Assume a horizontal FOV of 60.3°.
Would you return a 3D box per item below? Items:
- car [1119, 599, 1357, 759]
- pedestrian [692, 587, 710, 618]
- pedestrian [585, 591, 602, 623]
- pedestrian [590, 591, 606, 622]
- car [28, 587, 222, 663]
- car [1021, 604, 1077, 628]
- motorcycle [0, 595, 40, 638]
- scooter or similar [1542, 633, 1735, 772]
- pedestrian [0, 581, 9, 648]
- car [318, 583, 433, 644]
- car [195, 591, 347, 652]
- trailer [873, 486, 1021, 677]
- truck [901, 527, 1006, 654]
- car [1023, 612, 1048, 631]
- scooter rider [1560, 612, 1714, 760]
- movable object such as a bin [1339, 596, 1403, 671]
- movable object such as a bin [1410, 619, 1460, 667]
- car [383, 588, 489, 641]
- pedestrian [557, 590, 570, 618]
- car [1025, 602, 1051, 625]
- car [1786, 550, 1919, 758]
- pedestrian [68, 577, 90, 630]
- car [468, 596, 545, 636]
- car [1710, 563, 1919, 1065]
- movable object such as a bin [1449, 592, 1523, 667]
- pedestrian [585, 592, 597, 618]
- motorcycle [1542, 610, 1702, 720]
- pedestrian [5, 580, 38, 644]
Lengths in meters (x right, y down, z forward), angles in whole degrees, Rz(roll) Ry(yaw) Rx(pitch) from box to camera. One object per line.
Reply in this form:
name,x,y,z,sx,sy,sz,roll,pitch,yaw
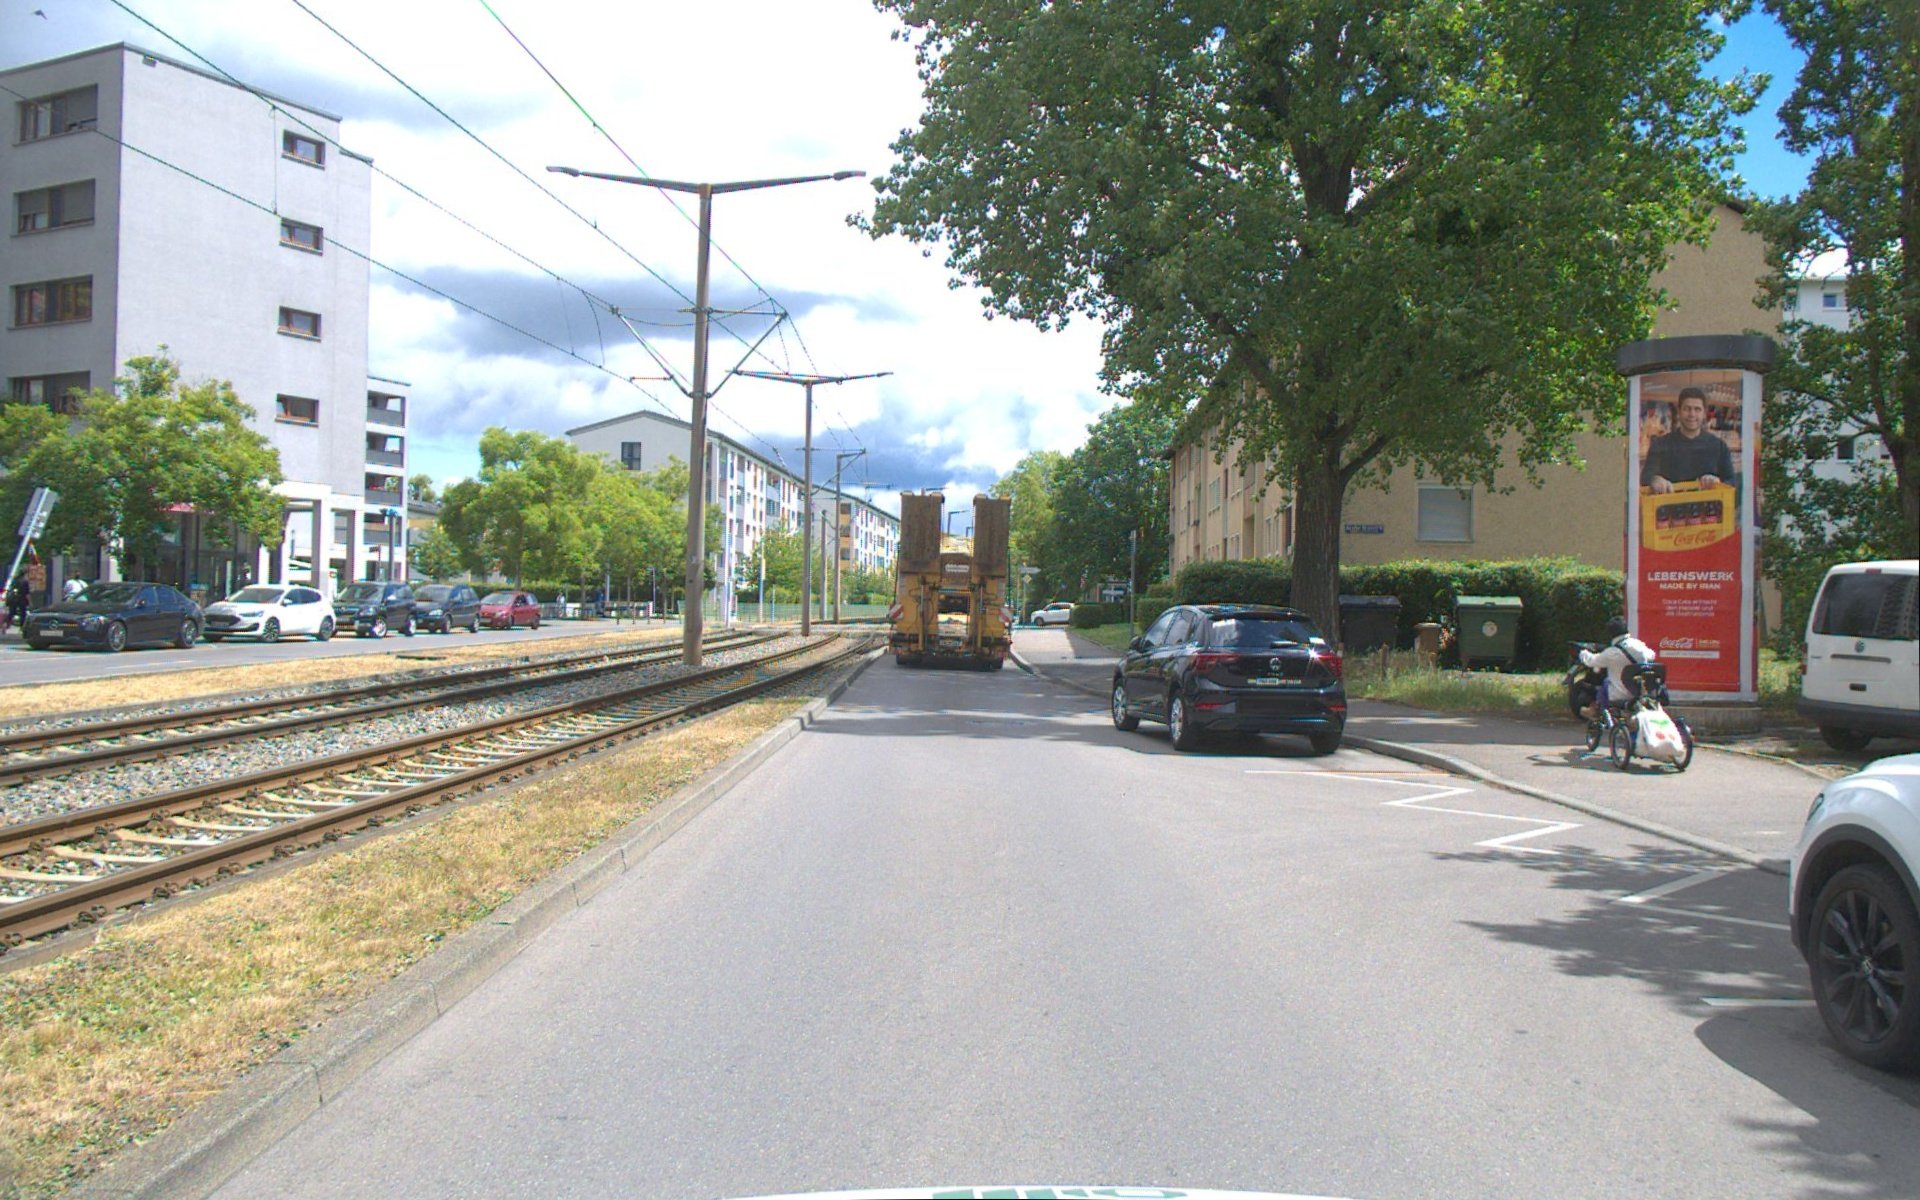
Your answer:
car,2.827,0.747,17.637,1.778,1.474,3.825,0,1,-2
pedestrian,-13.991,0.130,89.460,0.733,1.690,0.870,0,0,6
pedestrian,-18.985,0.358,85.720,0.609,1.600,0.698,0,0,13
pedestrian,-18.933,0.348,86.442,0.609,1.600,0.558,0,0,13
car,-18.202,0.512,36.307,1.698,1.453,4.383,3,0,4
car,6.060,1.062,112.480,3.521,1.612,2.001,0,-1,14
motorcycle,-27.043,0.462,46.566,1.853,1.199,0.741,0,0,-1
scooter or similar,6.108,0.890,15.040,0.872,1.083,2.114,0,1,-1
pedestrian,-22.732,0.343,38.439,0.588,1.560,0.974,0,0,14
car,-17.443,0.360,49.551,1.953,1.691,4.100,1,1,0
car,-17.987,0.529,43.392,1.717,1.501,4.403,0,1,7
trailer,-0.286,-0.436,39.266,2.988,3.838,11.612,0,1,0
truck,-0.193,-0.310,48.275,2.776,3.388,7.984,0,1,0
car,5.979,1.699,131.433,1.952,1.411,4.001,0,1,2
scooter rider,6.111,0.752,15.010,0.867,1.241,1.282,0,1,-1
movable object such as a bin,8.215,0.667,33.079,1.075,1.464,0.761,0,0,-1
movable object such as a bin,9.519,0.848,33.162,0.786,0.931,0.761,0,0,-1
car,-17.439,0.446,55.208,1.951,1.676,4.102,0,1,4
pedestrian,-22.525,0.229,94.010,0.533,1.574,0.528,0,0,23
car,5.949,1.031,126.697,1.952,1.646,4.001,0,1,2
car,10.162,0.456,15.969,3.931,1.854,1.799,-1,1,-22
pedestrian,-24.636,0.090,46.243,0.491,1.485,0.556,0,0,-26
car,-17.035,0.581,62.268,1.579,1.451,3.426,0,1,8
car,3.970,0.685,4.328,1.748,1.592,4.567,0,1,-3
movable object such as a bin,10.562,0.583,33.251,1.145,1.464,1.057,0,0,-1
pedestrian,-18.945,0.255,84.923,0.492,1.289,0.497,0,0,-21
motorcycle,7.861,0.753,19.642,1.769,1.231,0.708,-1,0,-21
pedestrian,-24.018,0.302,42.335,0.655,1.601,0.683,0,0,-26
